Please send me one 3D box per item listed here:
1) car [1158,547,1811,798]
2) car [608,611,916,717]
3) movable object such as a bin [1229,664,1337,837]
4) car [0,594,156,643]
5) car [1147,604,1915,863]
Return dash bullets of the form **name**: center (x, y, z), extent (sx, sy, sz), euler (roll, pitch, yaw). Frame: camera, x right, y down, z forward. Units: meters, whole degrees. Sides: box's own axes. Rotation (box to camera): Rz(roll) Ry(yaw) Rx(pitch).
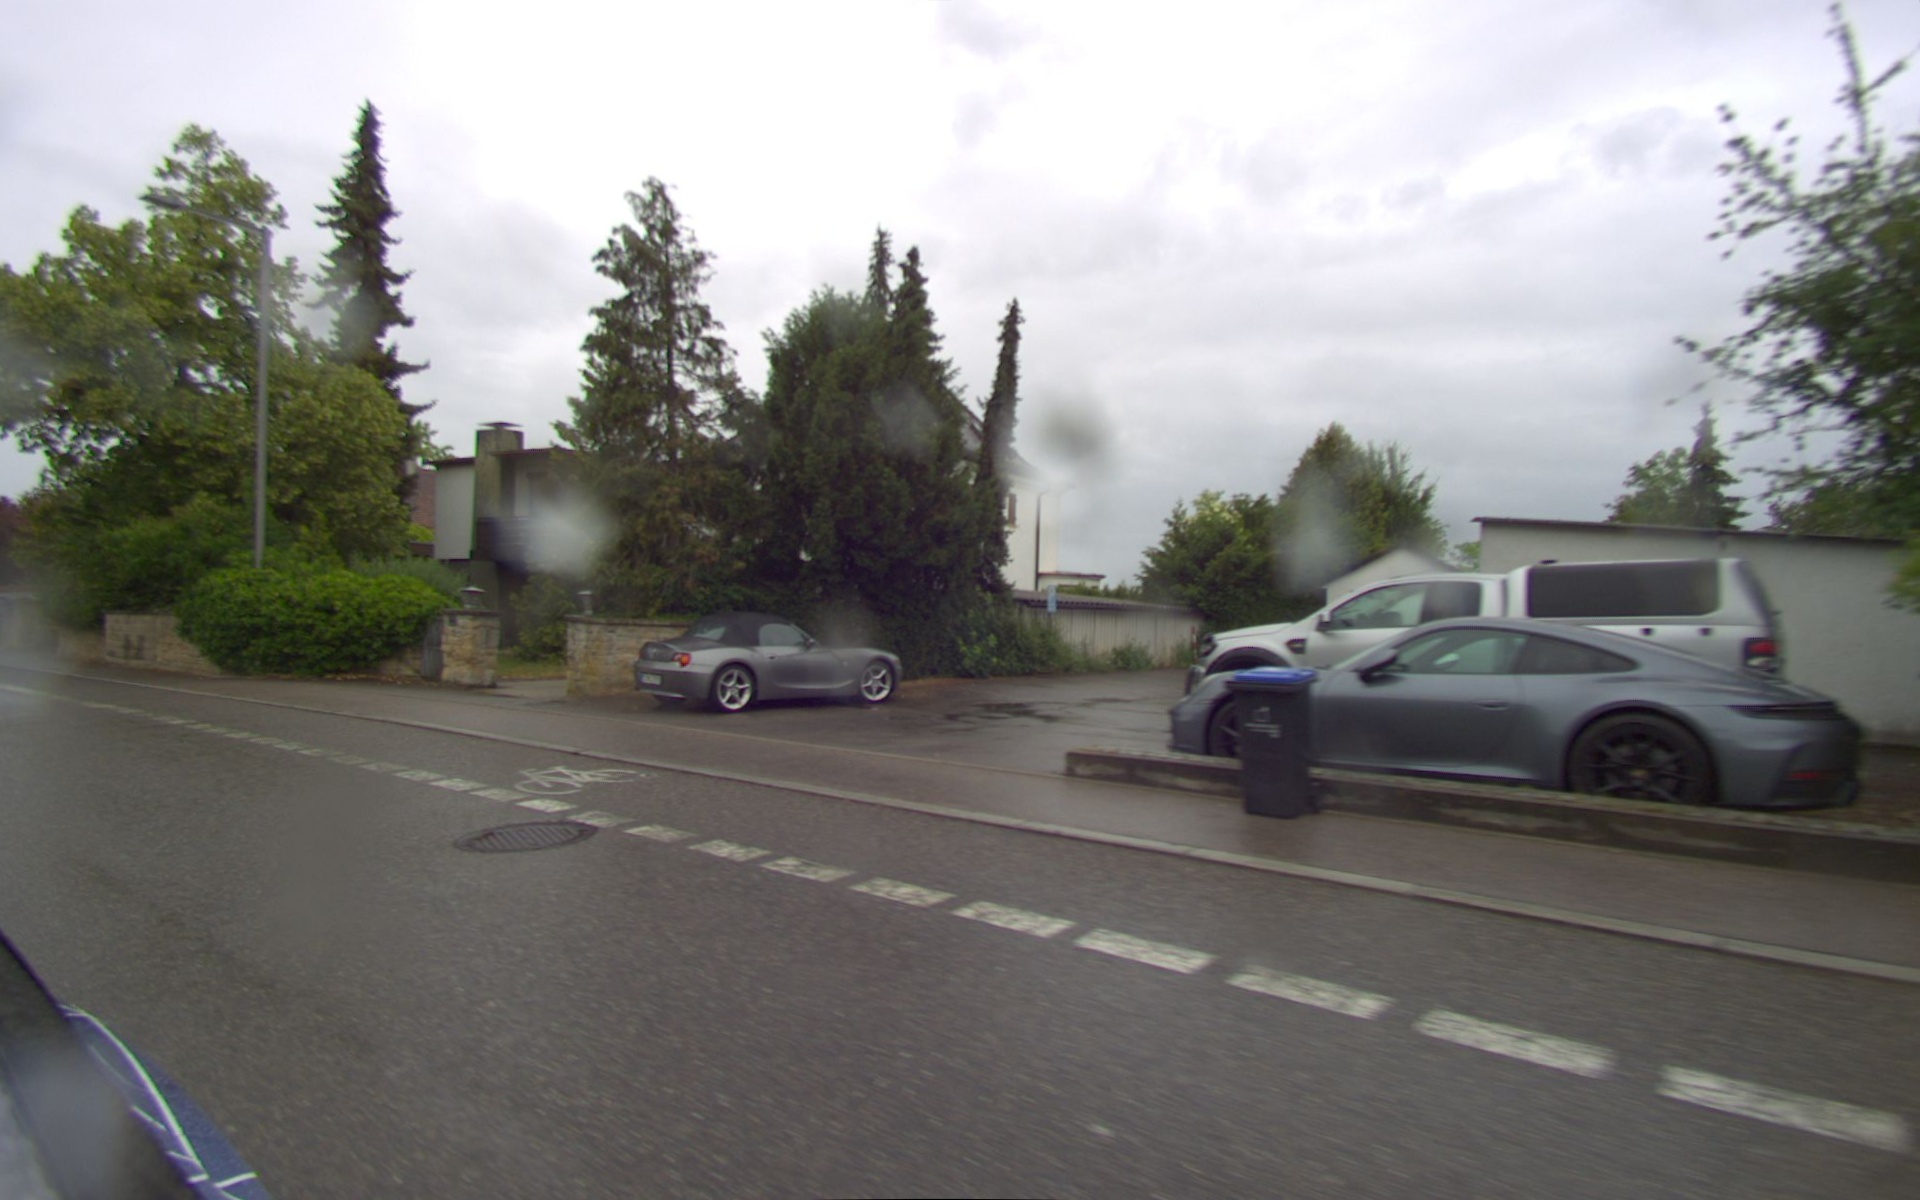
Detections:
- **car**: center (4.872, 0.564, 10.059), extent (5.475, 1.858, 1.973), euler (-1, -1, 41)
- **car**: center (-2.688, 0.802, 14.348), extent (1.874, 1.281, 3.942), euler (0, -1, 44)
- **movable object such as a bin**: center (2.022, 0.915, 6.340), extent (0.558, 0.995, 0.367), euler (-1, -2, 38)
- **car**: center (-28.911, 0.566, 32.504), extent (1.829, 1.487, 4.516), euler (0, 0, 25)
- **car**: center (3.801, 0.716, 7.361), extent (4.430, 1.317, 1.973), euler (-1, -2, 40)
